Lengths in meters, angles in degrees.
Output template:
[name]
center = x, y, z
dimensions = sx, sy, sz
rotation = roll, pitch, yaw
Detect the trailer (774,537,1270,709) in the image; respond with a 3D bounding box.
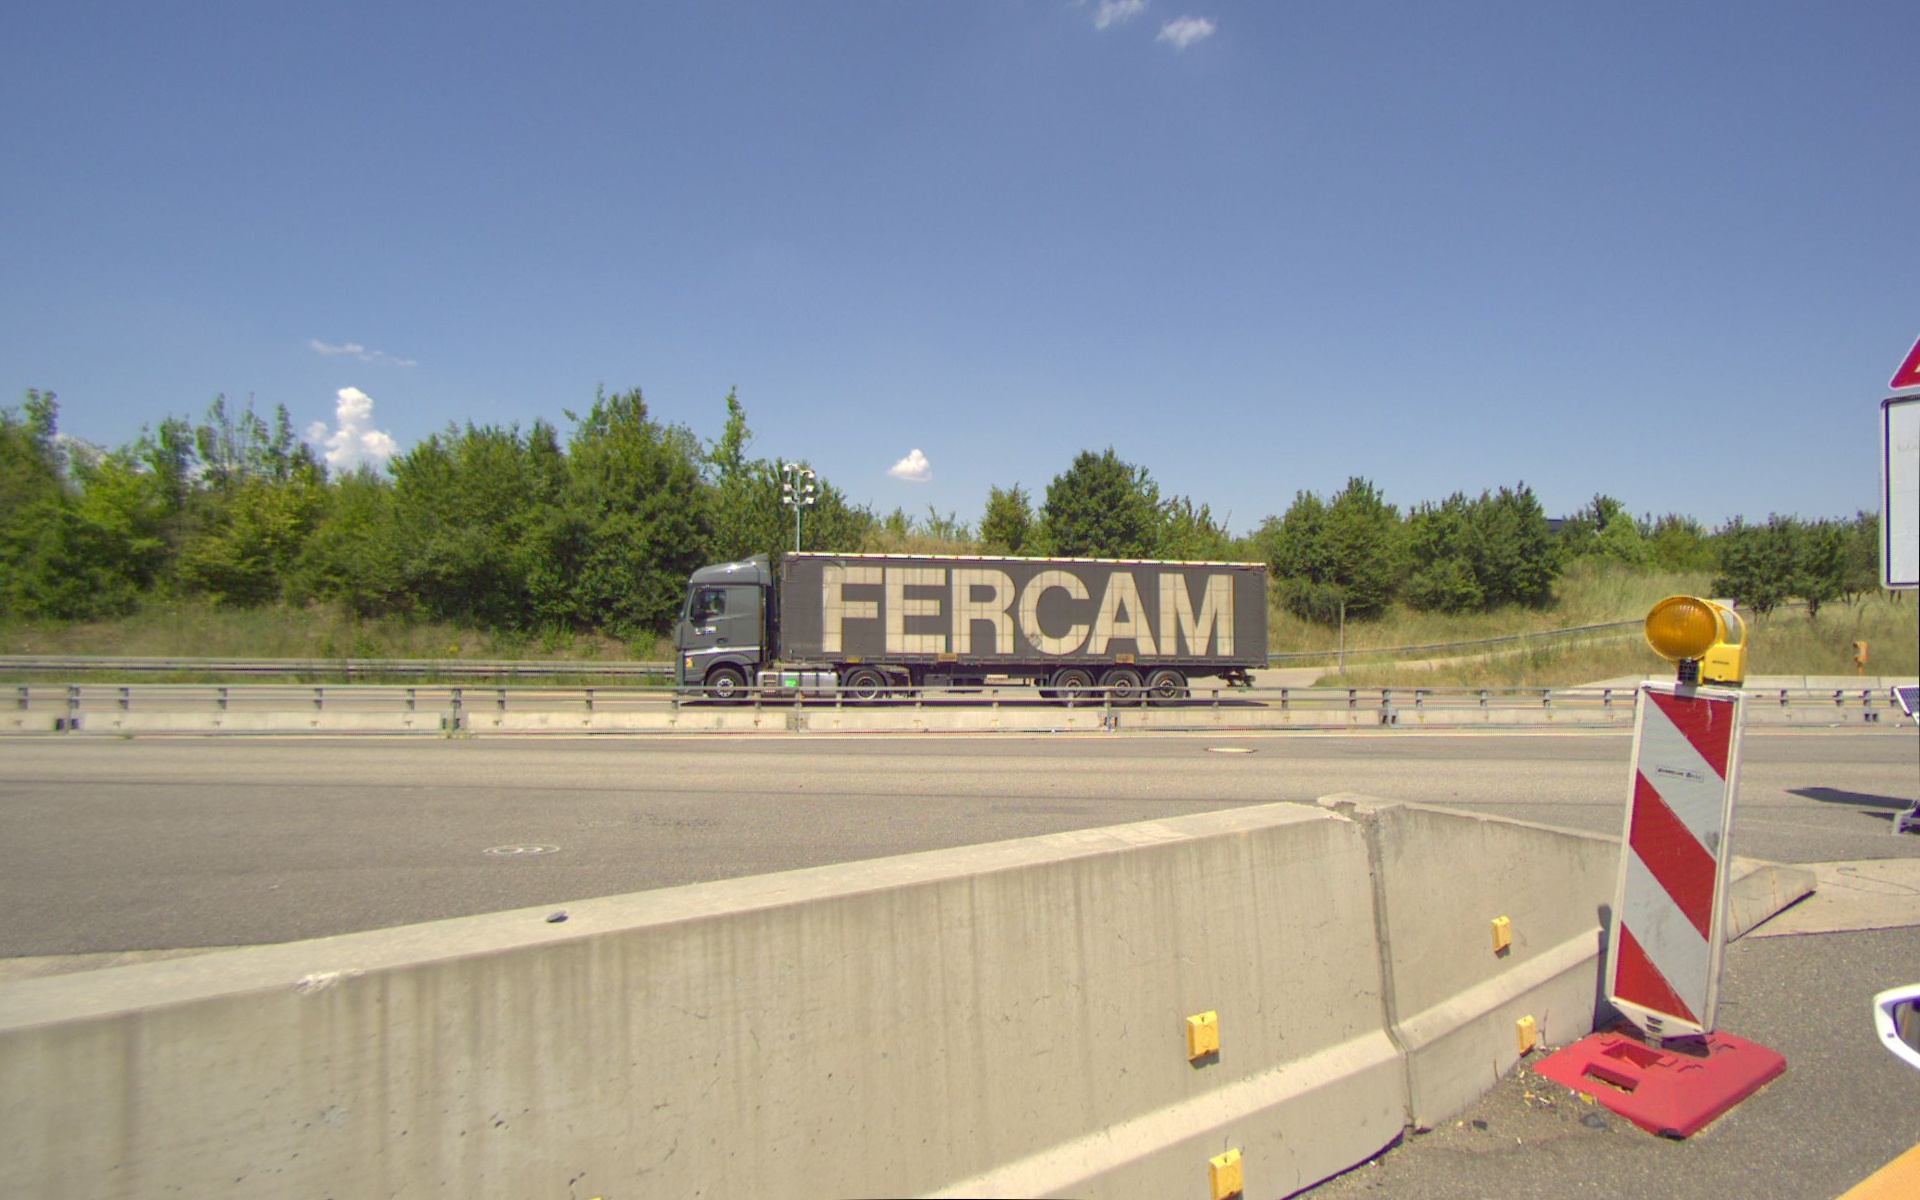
[trailer]
center = 1.768, 0.730, 28.235
dimensions = 13.556, 4.353, 2.440
rotation = 1, -1, -9

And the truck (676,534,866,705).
[truck]
center = -5.026, 0.568, 27.214
dimensions = 4.750, 4.326, 2.436
rotation = 1, -1, -9
